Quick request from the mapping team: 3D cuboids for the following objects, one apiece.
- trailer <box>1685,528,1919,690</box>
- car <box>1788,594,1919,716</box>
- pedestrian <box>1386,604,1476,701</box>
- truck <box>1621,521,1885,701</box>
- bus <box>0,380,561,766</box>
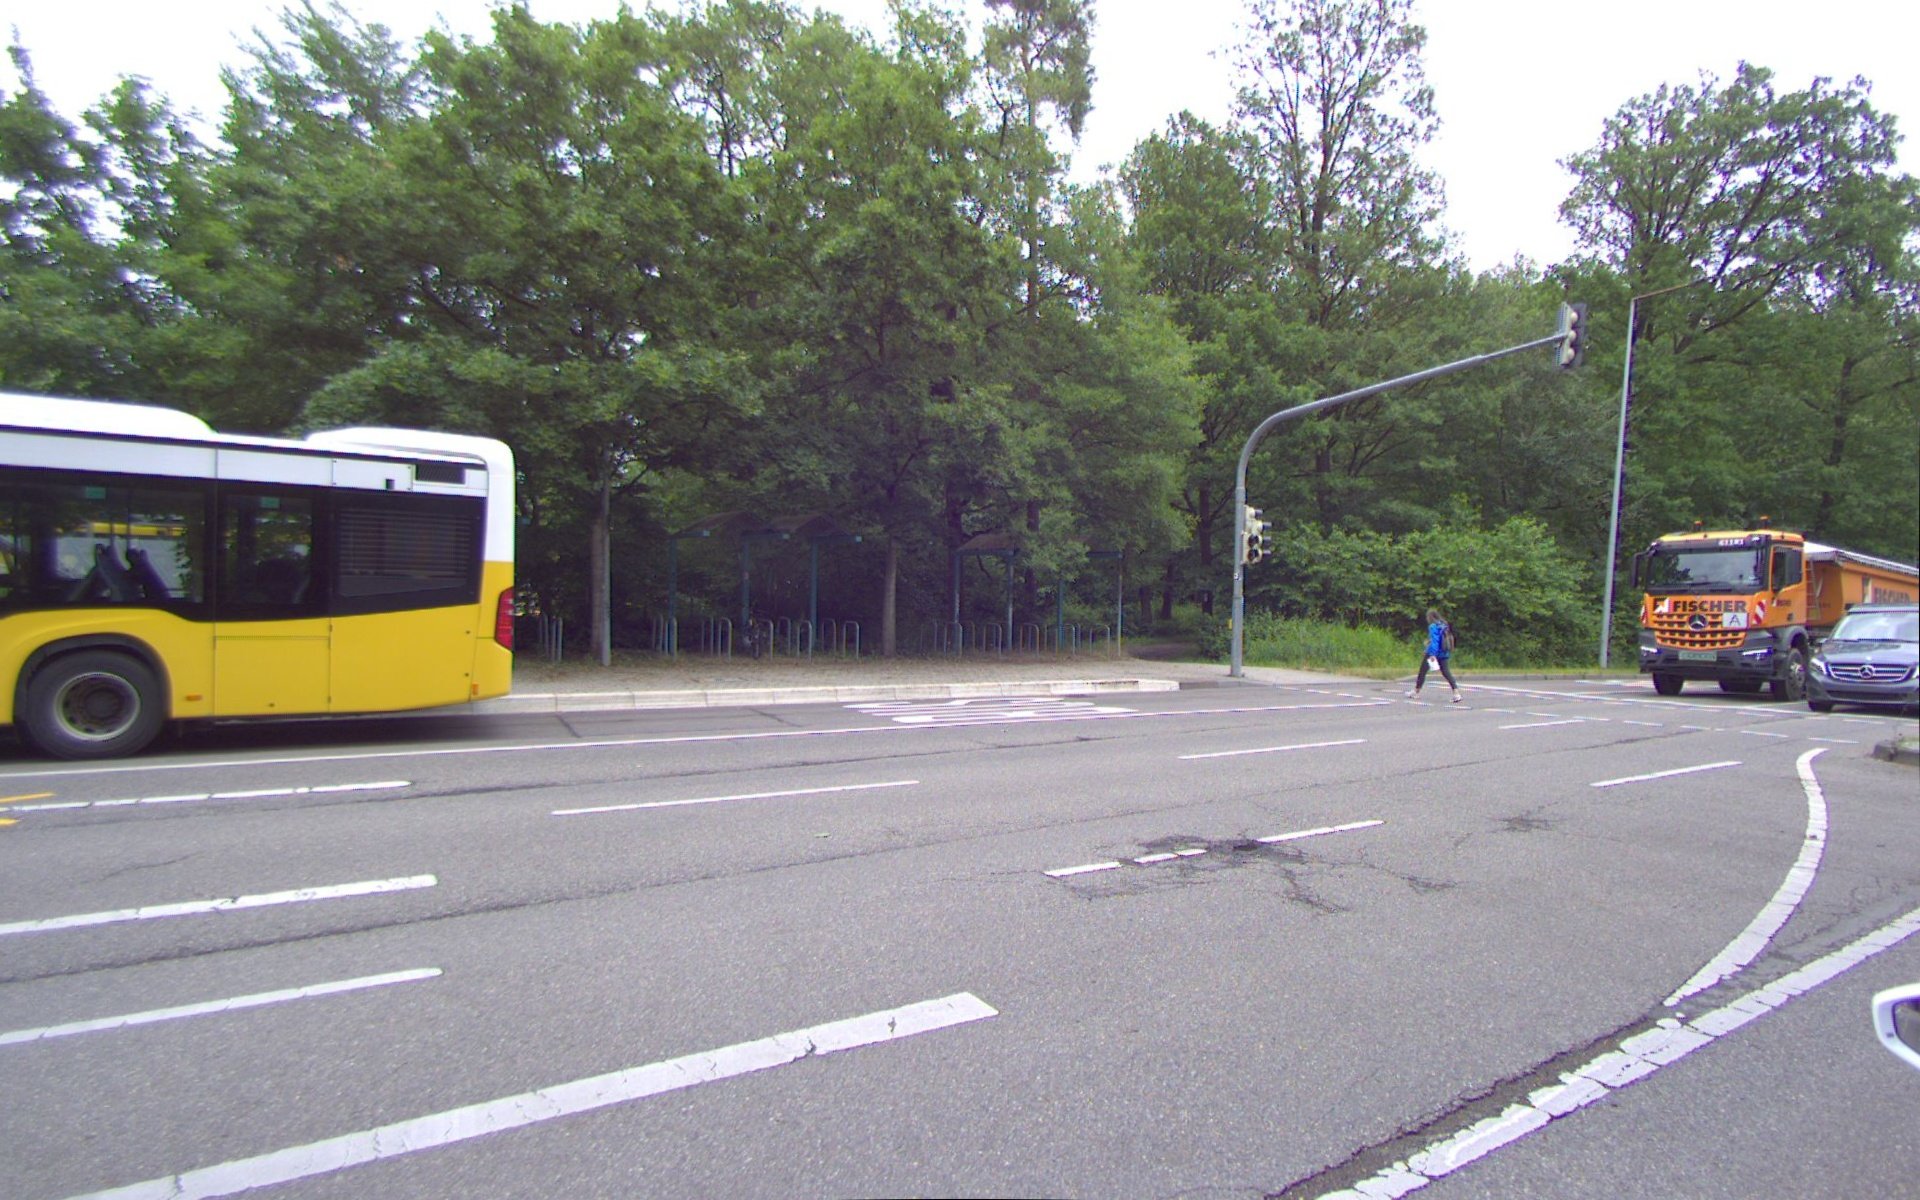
[{"bbox_3d":[20.822,0.344,24.399,8.487,3.362,2.720,3,-2,-36],"label":"trailer"},{"bbox_3d":[16.736,0.953,17.789,4.790,1.918,1.981,2,-2,-35],"label":"car"},{"bbox_3d":[8.478,0.920,18.089,1.055,1.671,1.043,0,0,-27],"label":"pedestrian"},{"bbox_3d":[17.454,0.335,21.931,7.091,3.362,2.720,3,-2,-36],"label":"truck"},{"bbox_3d":[-8.594,-0.233,9.520,8.594,3.169,2.884,1,0,-31],"label":"bus"}]
